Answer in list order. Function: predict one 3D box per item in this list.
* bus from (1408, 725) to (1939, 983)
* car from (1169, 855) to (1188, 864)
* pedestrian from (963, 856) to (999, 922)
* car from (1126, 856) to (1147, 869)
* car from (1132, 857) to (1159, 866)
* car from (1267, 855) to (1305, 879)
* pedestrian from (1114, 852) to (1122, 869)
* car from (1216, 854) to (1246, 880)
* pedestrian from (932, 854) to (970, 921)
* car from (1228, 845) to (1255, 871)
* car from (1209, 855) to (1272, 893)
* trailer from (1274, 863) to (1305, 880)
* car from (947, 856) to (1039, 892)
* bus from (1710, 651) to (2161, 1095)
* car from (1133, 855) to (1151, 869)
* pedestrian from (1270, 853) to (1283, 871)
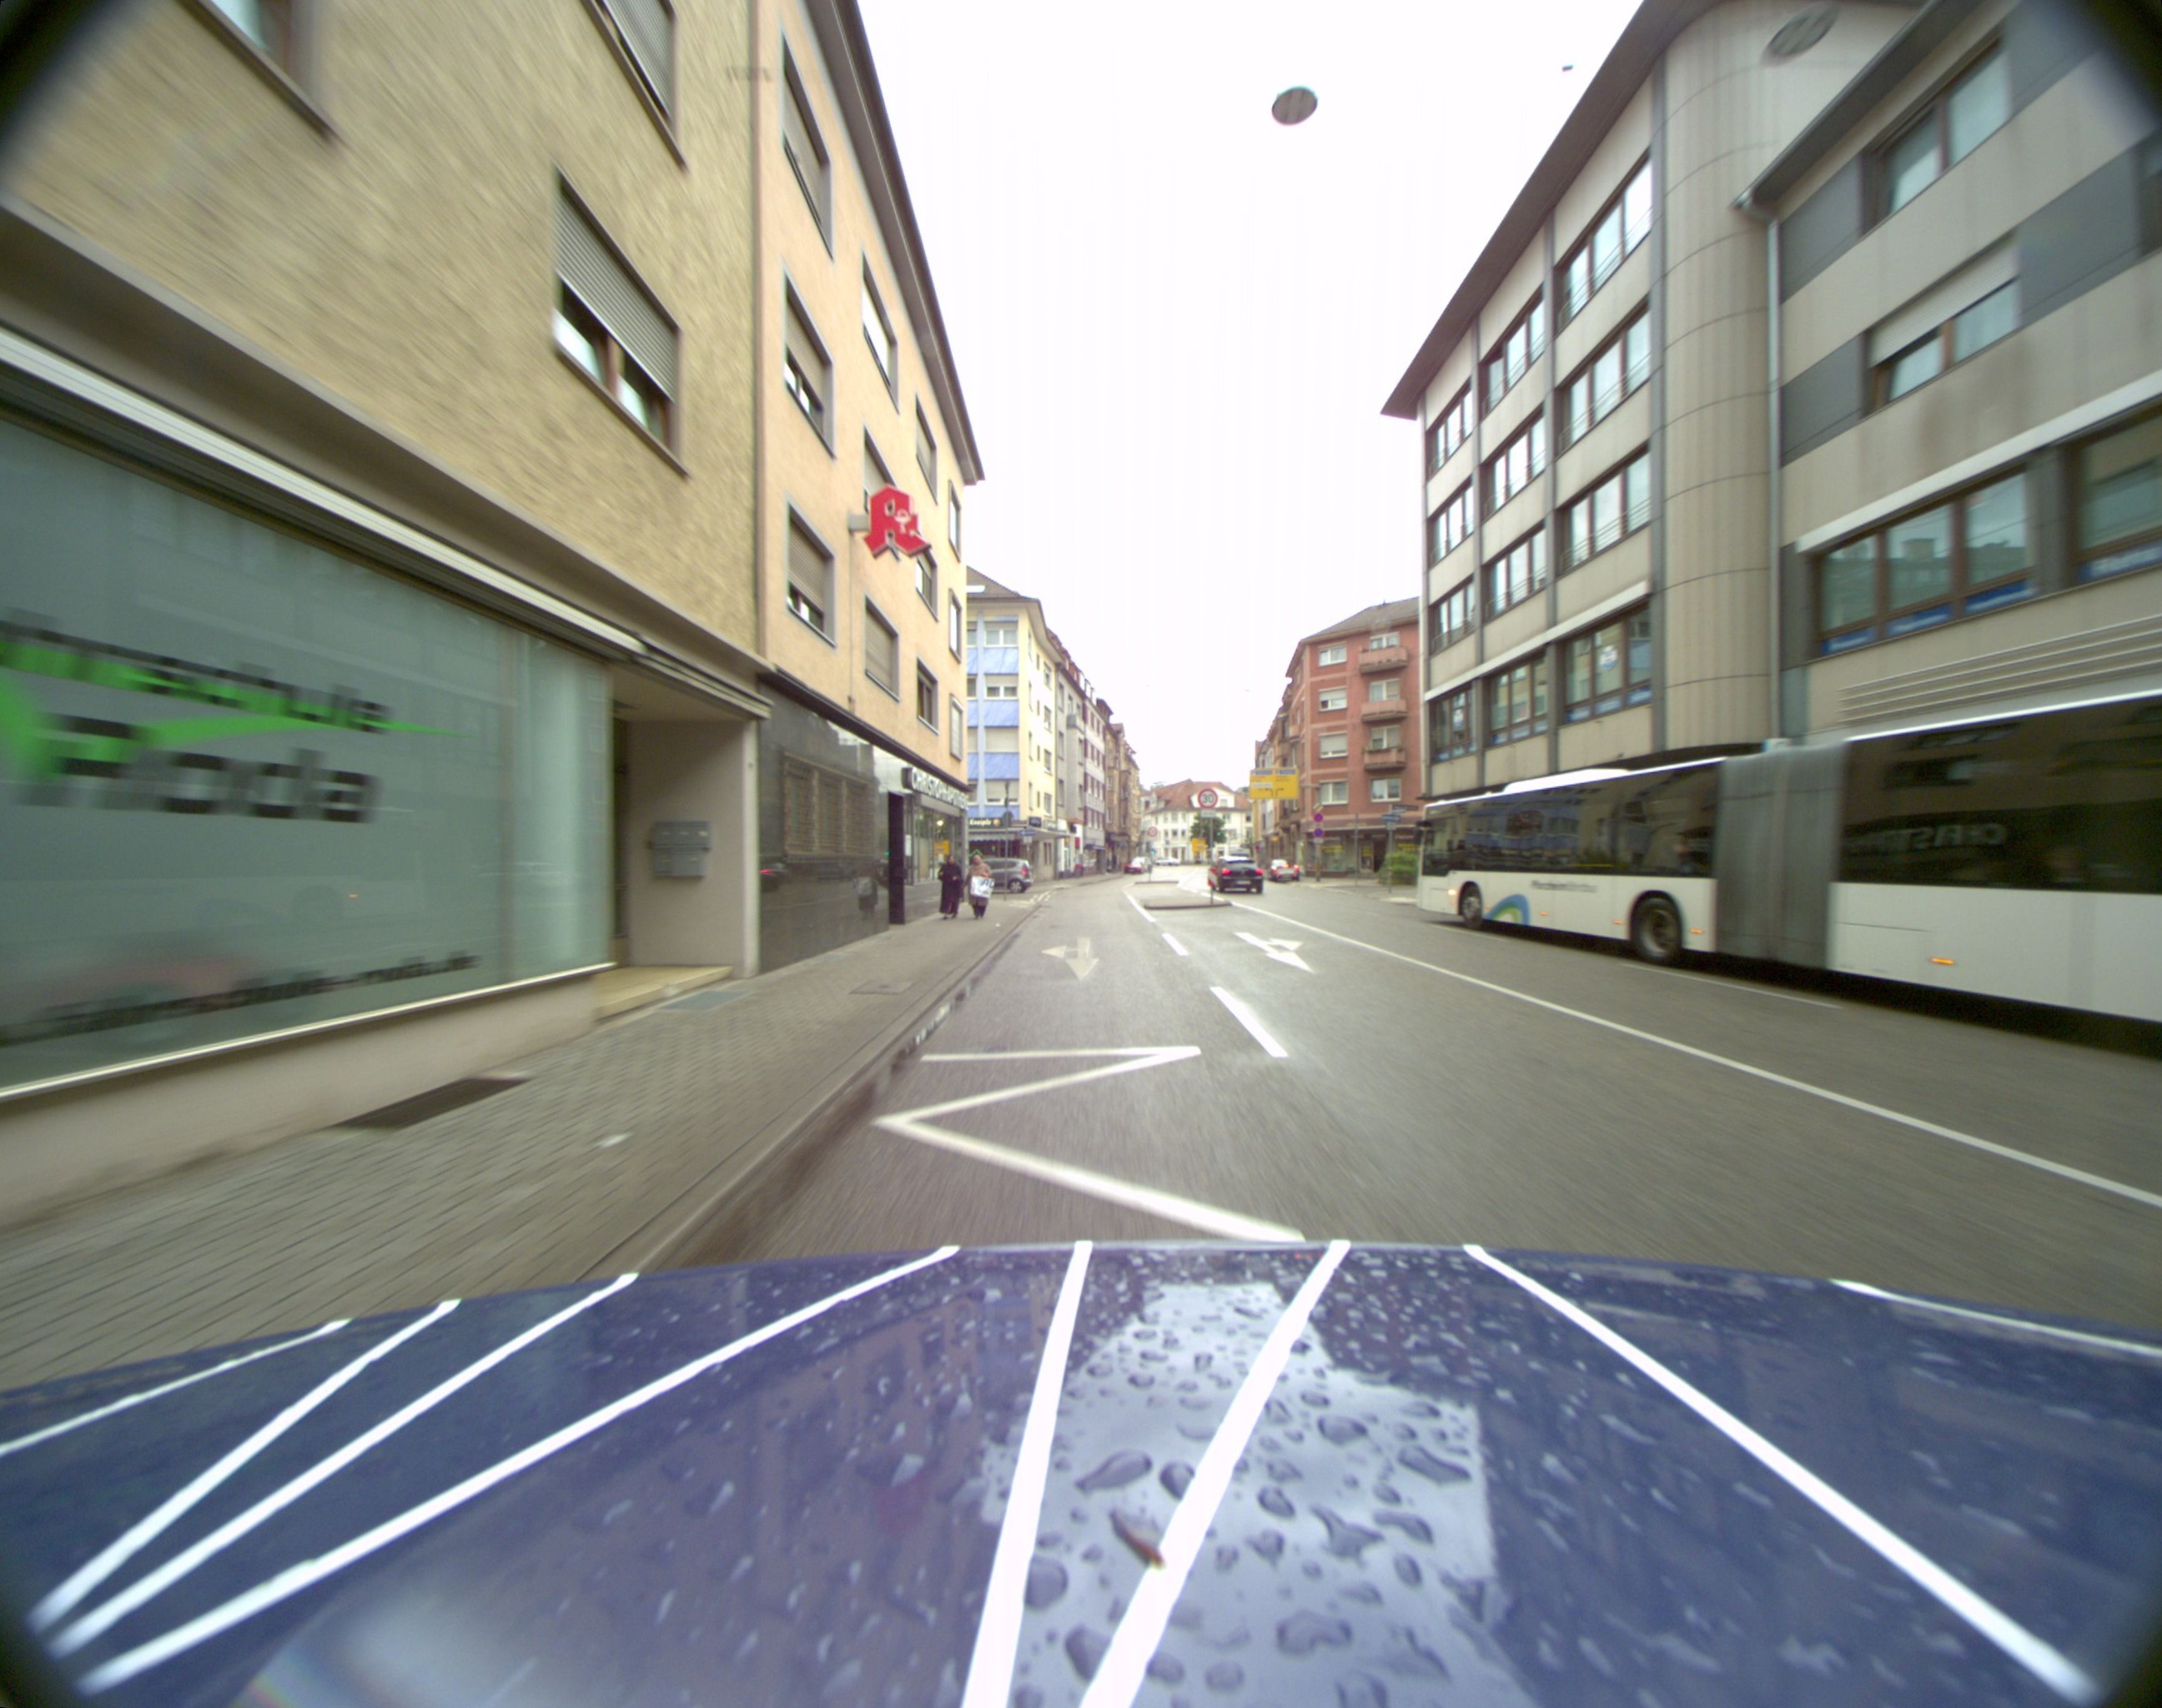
[{"bbox_3d":[9.200,-0.035,13.806,2.765,3.170,8.911,0,1,1],"label":"bus"},{"bbox_3d":[16.658,0.896,130.082,1.949,1.462,4.555,0,1,-10],"label":"car"},{"bbox_3d":[-2.403,0.833,18.312,0.780,1.551,0.782,0,1,-1],"label":"pedestrian"},{"bbox_3d":[5.727,0.867,77.874,1.747,1.361,4.318,0,0,9],"label":"car"},{"bbox_3d":[11.929,1.318,140.420,4.507,1.574,1.953,0,1,38],"label":"car"},{"bbox_3d":[13.506,0.814,50.195,1.853,1.389,4.796,-3,0,9],"label":"car"},{"bbox_3d":[3.773,0.692,78.068,0.745,1.769,0.796,0,1,7],"label":"pedestrian"},{"bbox_3d":[10.046,0.853,51.140,1.746,1.652,4.421,0,-1,9],"label":"car"},{"bbox_3d":[-3.109,0.791,18.252,0.770,1.551,0.876,0,1,-1],"label":"pedestrian"},{"bbox_3d":[15.748,0.353,74.992,2.090,2.421,6.356,0,1,7],"label":"car"},{"bbox_3d":[6.455,0.771,31.189,1.713,1.443,4.085,0,1,0],"label":"car"},{"bbox_3d":[12.672,1.059,46.341,1.590,0.944,3.059,-1,0,11],"label":"trailer"},{"bbox_3d":[-3.969,0.875,34.685,3.833,1.565,1.937,0,1,6],"label":"car"},{"bbox_3d":[9.061,0.139,4.699,2.732,3.170,9.292,0,1,1],"label":"bus"},{"bbox_3d":[6.900,0.884,85.292,1.650,1.485,4.451,0,1,10],"label":"car"},{"bbox_3d":[18.138,0.755,70.542,0.845,1.669,0.853,-3,1,-3],"label":"pedestrian"}]
